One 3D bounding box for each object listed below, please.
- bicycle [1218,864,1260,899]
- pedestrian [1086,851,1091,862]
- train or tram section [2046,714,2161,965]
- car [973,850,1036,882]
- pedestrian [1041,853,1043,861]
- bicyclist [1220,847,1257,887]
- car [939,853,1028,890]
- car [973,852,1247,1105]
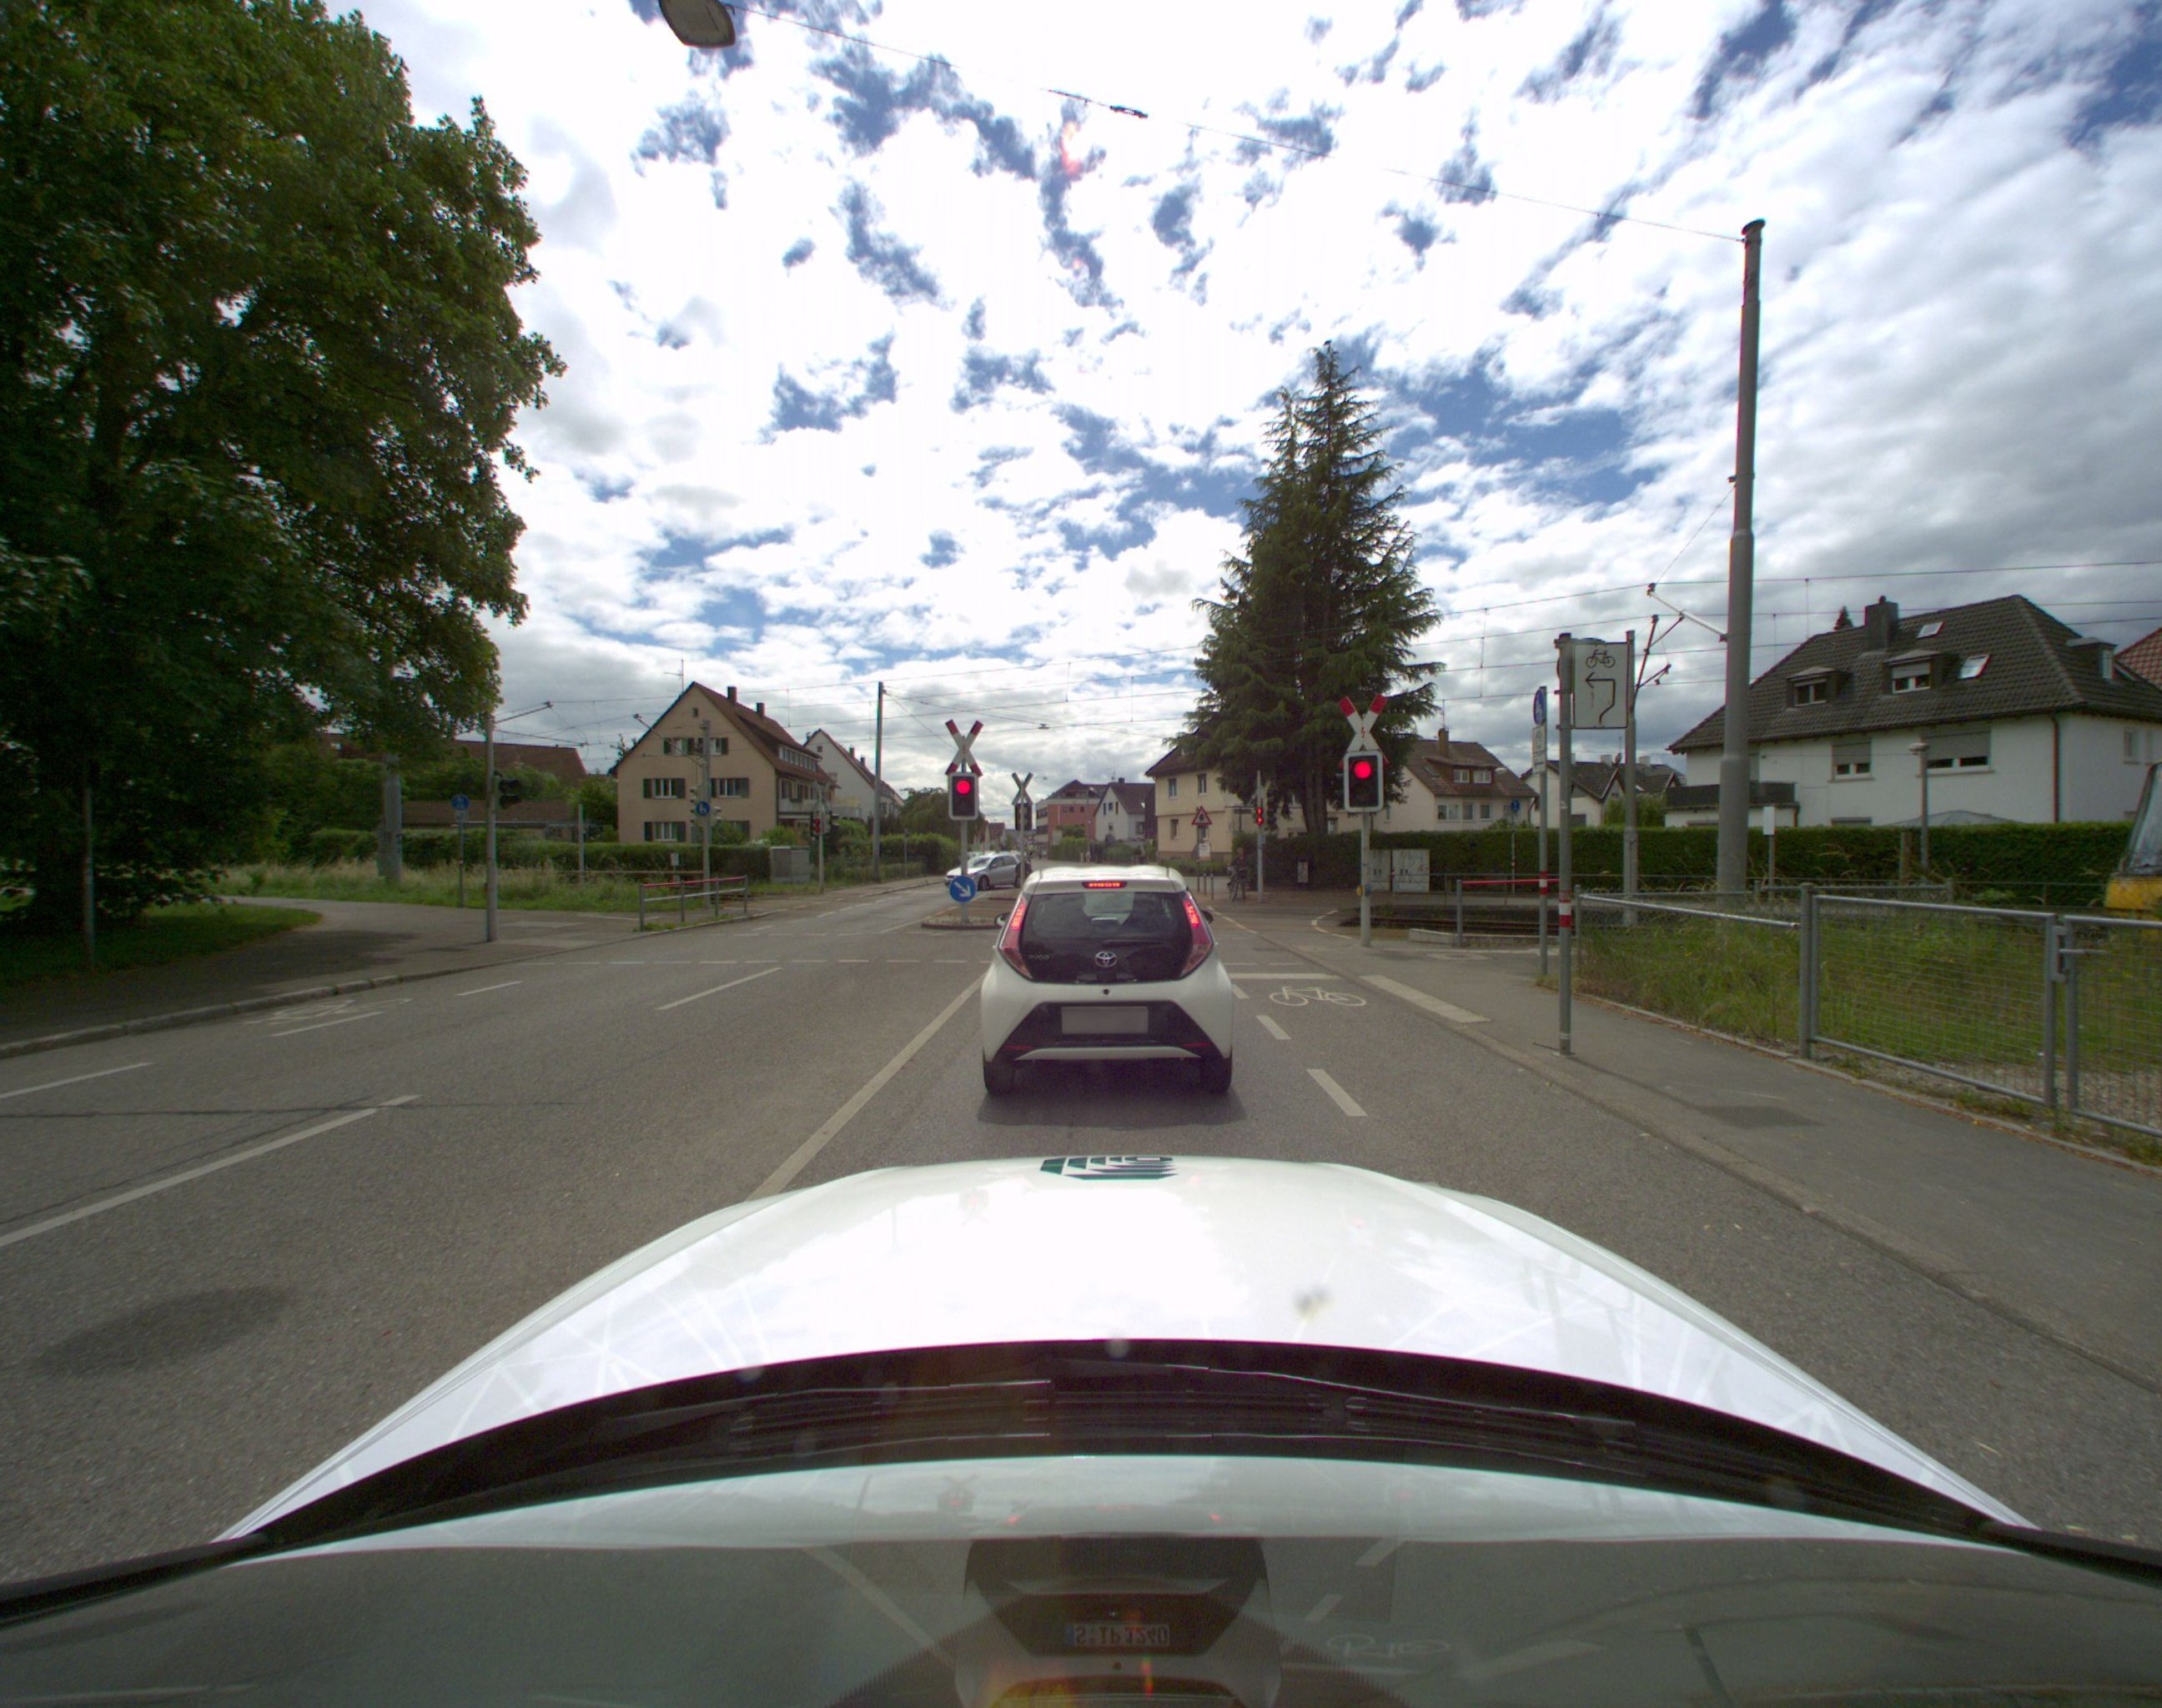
[{"bbox_3d":[5.127,0.873,26.351,0.923,1.040,1.925,-2,0,23],"label":"bicycle"},{"bbox_3d":[0.872,0.301,99.950,0.409,1.437,0.440,0,0,39],"label":"pedestrian"},{"bbox_3d":[19.961,-0.167,11.531,7.622,3.721,2.886,1,0,24],"label":"train or tram section"},{"bbox_3d":[-3.793,0.596,40.834,1.560,1.510,2.804,0,-1,44],"label":"car"},{"bbox_3d":[-6.910,0.508,144.407,0.413,1.437,0.436,0,0,-9],"label":"pedestrian"},{"bbox_3d":[5.078,0.425,26.264,0.923,1.247,1.108,-2,0,23],"label":"bicyclist"},{"bbox_3d":[-4.091,0.719,34.693,1.672,1.458,4.094,0,-1,29],"label":"car"},{"bbox_3d":[0.236,0.762,6.856,1.615,1.486,4.001,-1,-1,2],"label":"car"}]
